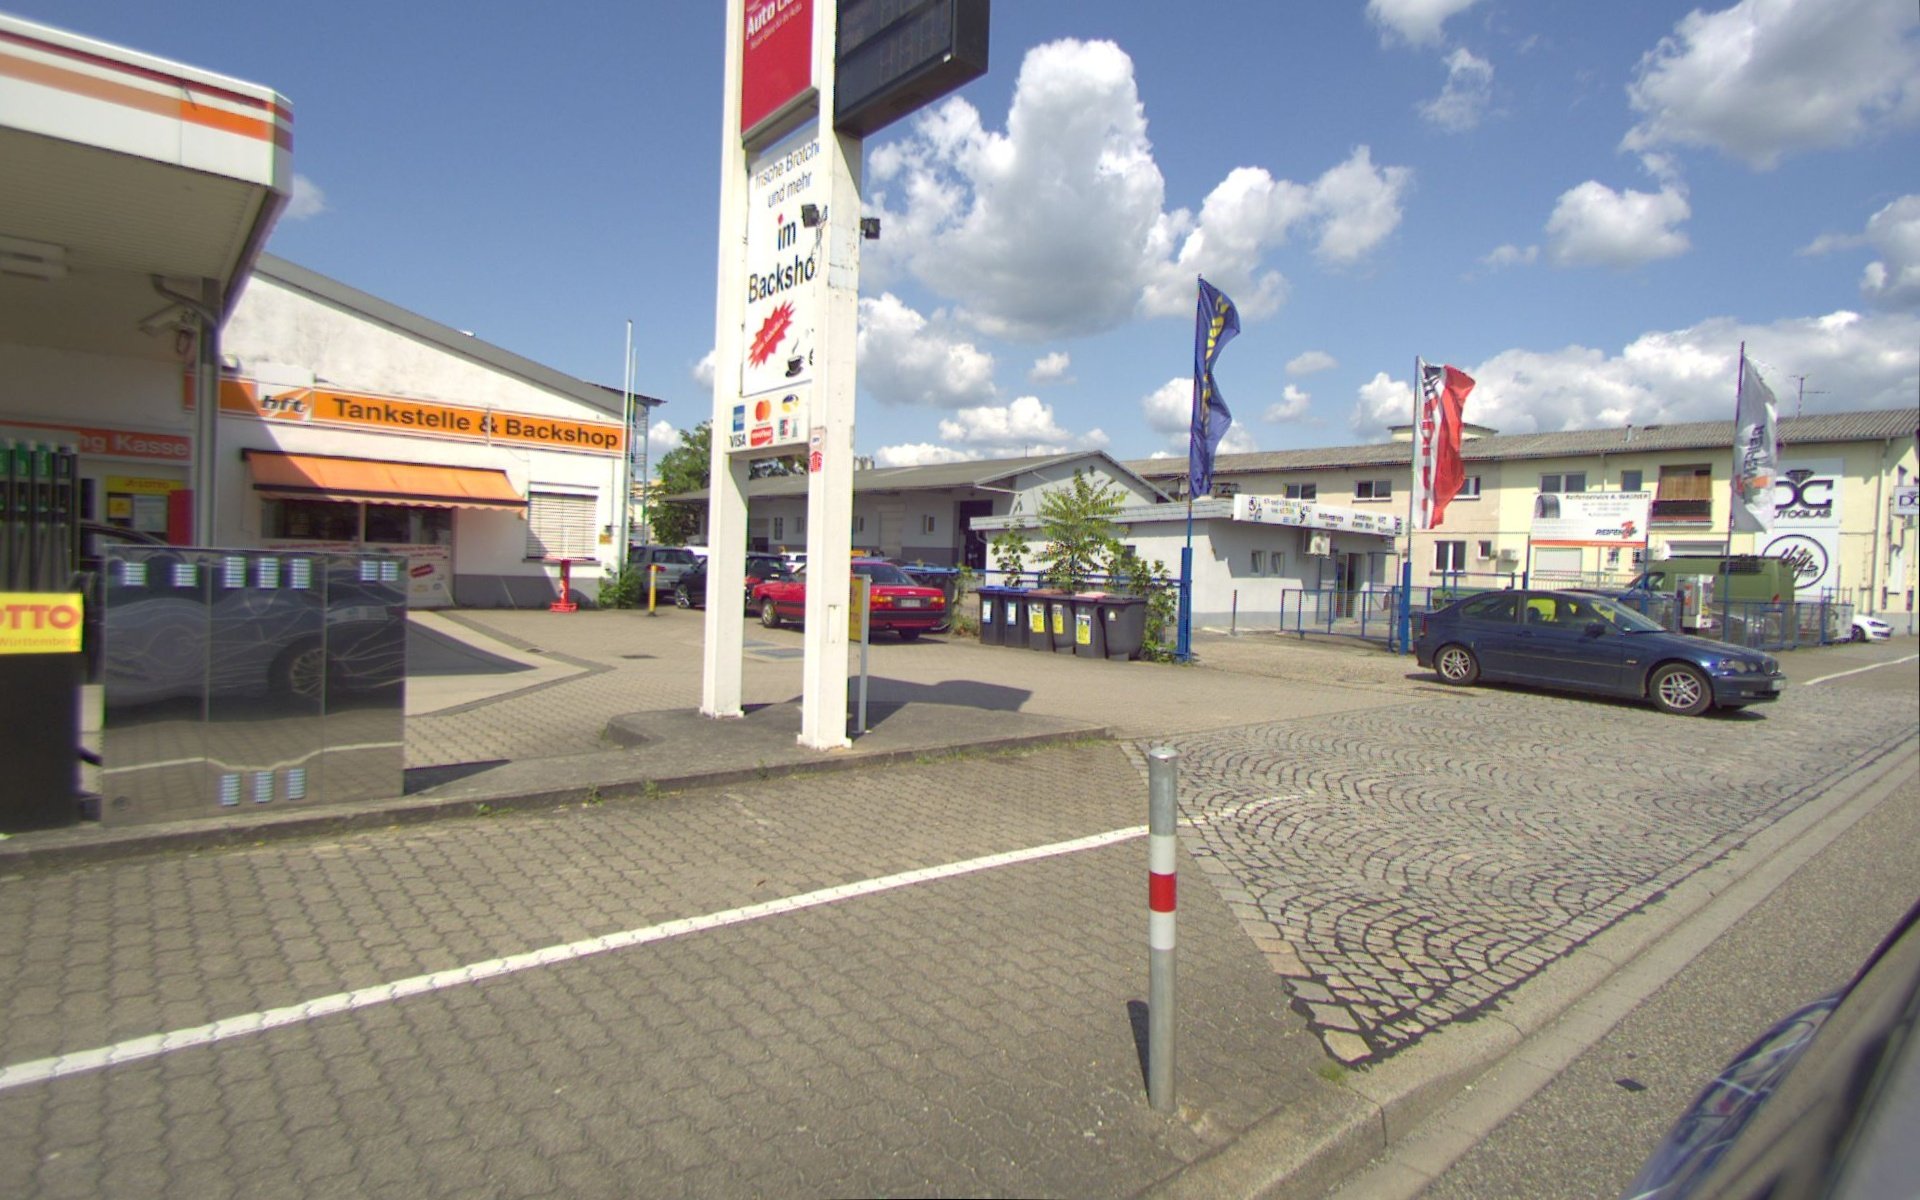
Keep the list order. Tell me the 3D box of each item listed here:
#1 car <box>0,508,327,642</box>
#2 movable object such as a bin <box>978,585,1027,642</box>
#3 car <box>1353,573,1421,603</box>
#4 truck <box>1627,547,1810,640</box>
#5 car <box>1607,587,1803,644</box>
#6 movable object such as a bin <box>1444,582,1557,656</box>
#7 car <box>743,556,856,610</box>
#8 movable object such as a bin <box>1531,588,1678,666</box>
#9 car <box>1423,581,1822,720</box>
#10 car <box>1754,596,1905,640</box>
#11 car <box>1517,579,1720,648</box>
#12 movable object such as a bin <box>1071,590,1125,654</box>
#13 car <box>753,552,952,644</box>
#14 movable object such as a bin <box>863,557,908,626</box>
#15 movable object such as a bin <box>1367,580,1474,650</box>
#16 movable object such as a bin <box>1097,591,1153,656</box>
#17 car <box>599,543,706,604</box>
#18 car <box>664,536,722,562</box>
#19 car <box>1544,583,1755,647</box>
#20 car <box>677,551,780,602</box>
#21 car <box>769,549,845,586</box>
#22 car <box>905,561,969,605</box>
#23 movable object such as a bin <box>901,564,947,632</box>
[{"bbox_3d":[-10.844,-0.305,12.956,4.413,1.538,1.686,2,2,-41],"label":"car"},{"bbox_3d":[0.779,0.231,18.576,0.694,1.023,0.581,0,1,-42],"label":"movable object such as a bin"},{"bbox_3d":[18.628,-0.536,44.100,3.218,1.277,1.452,-1,1,-40],"label":"car"},{"bbox_3d":[23.559,-0.235,31.552,2.071,2.694,4.181,0,1,-39],"label":"truck"},{"bbox_3d":[21.631,0.383,29.573,1.792,1.526,4.266,0,1,-32],"label":"car"},{"bbox_3d":[10.988,0.348,20.574,1.735,1.427,1.534,-1,1,-41],"label":"movable object such as a bin"},{"bbox_3d":[-4.260,-0.476,26.548,1.461,1.240,3.311,-1,4,-39],"label":"car"},{"bbox_3d":[12.170,0.460,19.136,1.679,1.364,1.966,-1,1,-41],"label":"movable object such as a bin"},{"bbox_3d":[8.482,0.520,13.329,1.616,1.425,4.068,0,3,-34],"label":"car"},{"bbox_3d":[29.915,0.580,34.905,1.490,1.374,3.728,0,1,-36],"label":"car"},{"bbox_3d":[15.993,0.260,24.821,1.592,1.480,3.918,0,2,-24],"label":"car"},{"bbox_3d":[2.291,0.355,16.806,0.694,1.023,0.581,0,1,-42],"label":"movable object such as a bin"},{"bbox_3d":[-2.121,-0.123,18.962,1.739,1.442,4.146,-1,4,-39],"label":"car"},{"bbox_3d":[-1.549,-0.184,21.063,0.694,1.408,0.581,1,2,-42],"label":"movable object such as a bin"},{"bbox_3d":[9.903,0.279,21.762,1.735,1.427,1.534,-1,1,-41],"label":"movable object such as a bin"},{"bbox_3d":[2.668,0.365,16.338,0.694,1.023,0.581,0,1,-42],"label":"movable object such as a bin"},{"bbox_3d":[-8.175,-0.744,26.735,1.500,1.442,3.594,0,4,-39],"label":"car"},{"bbox_3d":[-15.883,-3.014,60.258,3.093,1.394,1.379,1,1,-42],"label":"car"},{"bbox_3d":[17.951,0.321,26.594,1.789,1.524,4.271,0,1,-24],"label":"car"},{"bbox_3d":[-6.908,-0.720,30.004,1.525,1.330,3.647,0,4,-39],"label":"car"},{"bbox_3d":[-7.781,-1.620,51.570,3.537,1.763,1.538,1,1,-42],"label":"car"},{"bbox_3d":[-0.829,-0.567,34.051,1.605,1.370,3.680,1,1,-10],"label":"car"},{"bbox_3d":[-0.710,-0.049,19.966,0.694,1.313,0.581,0,1,-42],"label":"movable object such as a bin"}]
